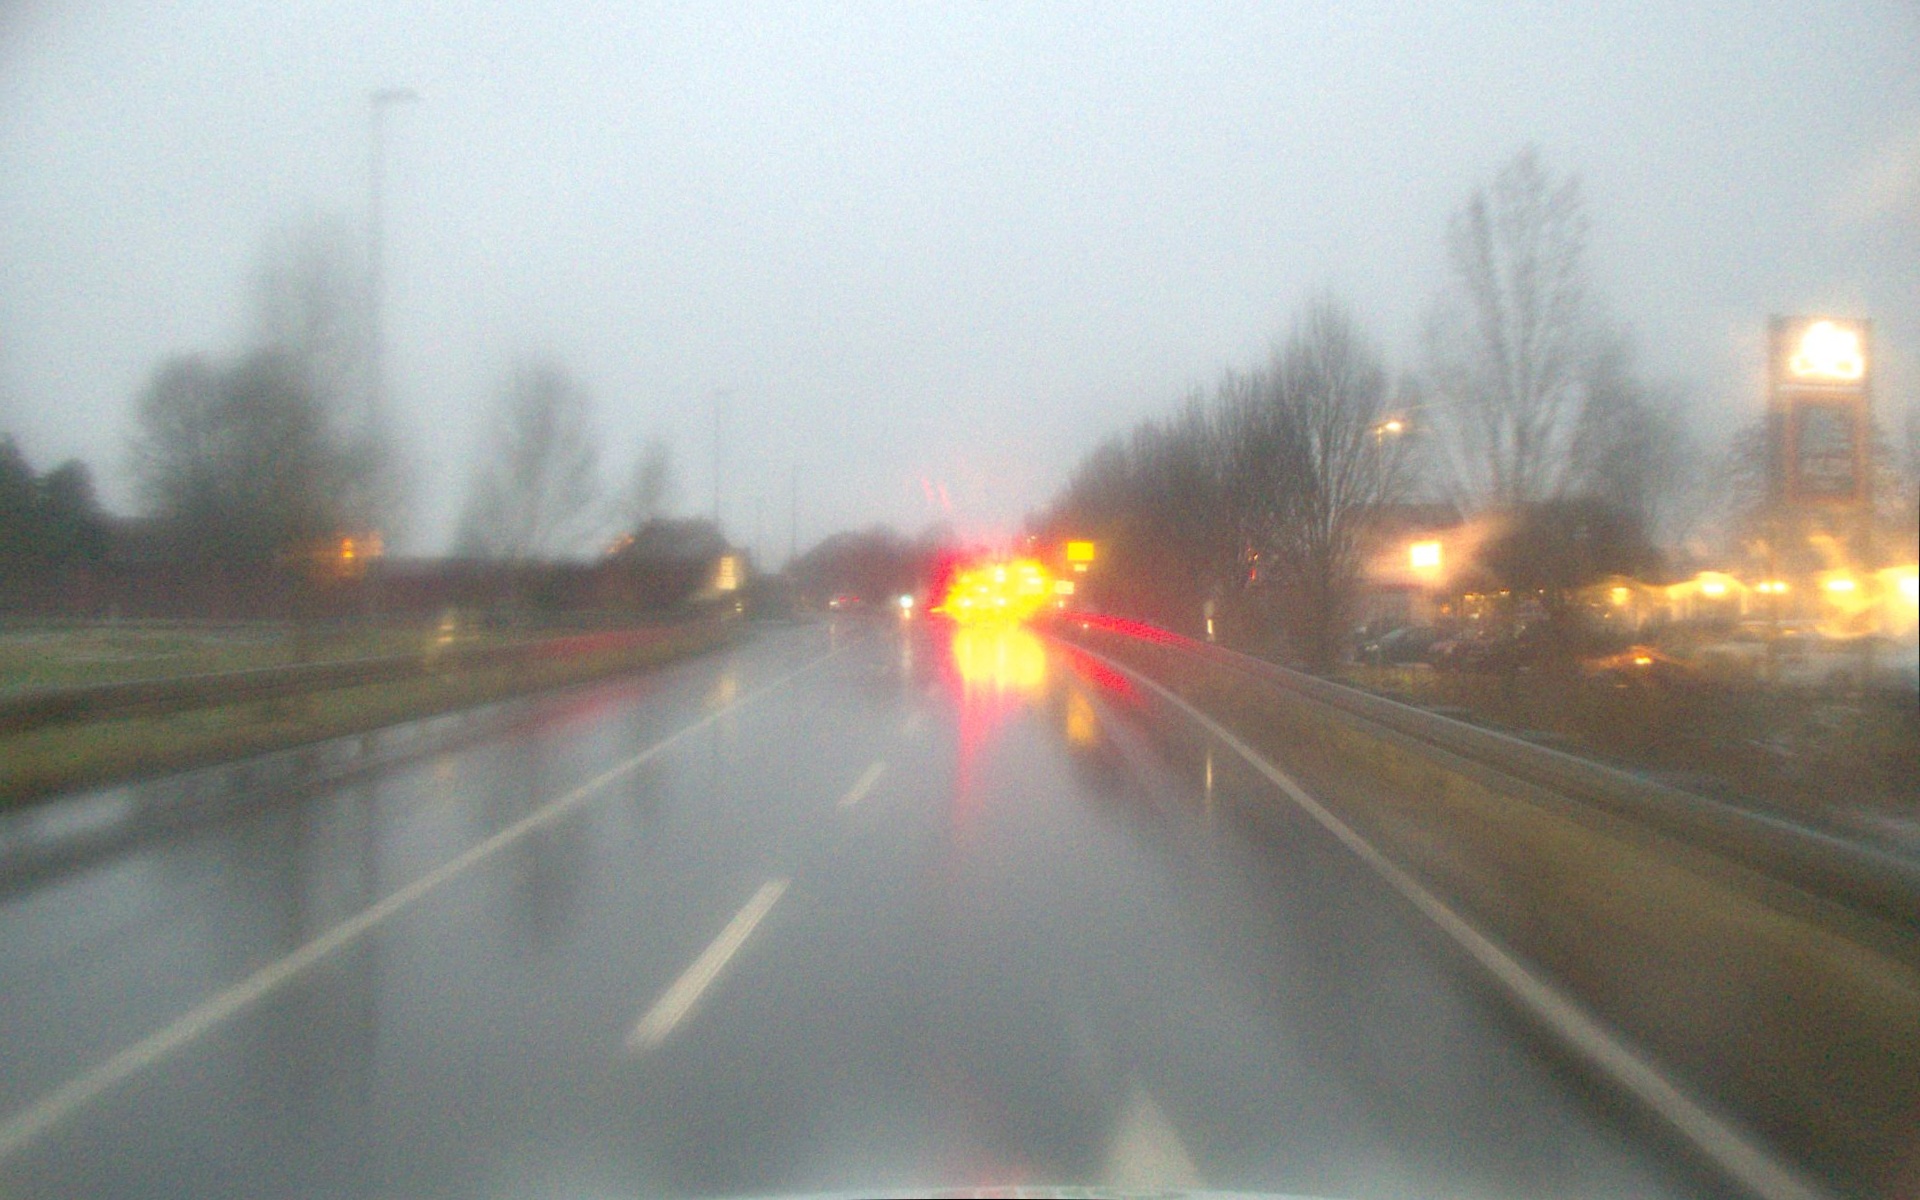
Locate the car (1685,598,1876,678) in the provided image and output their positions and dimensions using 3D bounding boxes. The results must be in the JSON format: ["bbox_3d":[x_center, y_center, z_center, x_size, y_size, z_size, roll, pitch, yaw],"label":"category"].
[{"bbox_3d":[19.897,0.935,40.147,4.056,1.868,1.656,1,-2,-14],"label":"car"}]

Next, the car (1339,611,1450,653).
[{"bbox_3d":[15.447,1.135,58.848,3.470,1.448,1.659,1,-2,-9],"label":"car"}]

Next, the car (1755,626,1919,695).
[{"bbox_3d":[20.168,1.336,37.095,4.053,1.447,1.658,0,0,-11],"label":"car"}]

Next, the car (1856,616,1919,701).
[{"bbox_3d":[21.127,1.222,34.408,4.178,1.658,1.992,1,1,-16],"label":"car"}]

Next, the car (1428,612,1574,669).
[{"bbox_3d":[17.416,1.287,53.294,4.061,1.755,2.012,0,-1,-17],"label":"car"}]

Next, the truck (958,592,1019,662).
[{"bbox_3d":[1.188,1.120,71.948,2.480,2.919,5.921,0,0,0],"label":"truck"}]

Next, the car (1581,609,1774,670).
[{"bbox_3d":[18.878,1.027,43.547,4.642,1.515,1.656,0,-2,-15],"label":"car"}]
